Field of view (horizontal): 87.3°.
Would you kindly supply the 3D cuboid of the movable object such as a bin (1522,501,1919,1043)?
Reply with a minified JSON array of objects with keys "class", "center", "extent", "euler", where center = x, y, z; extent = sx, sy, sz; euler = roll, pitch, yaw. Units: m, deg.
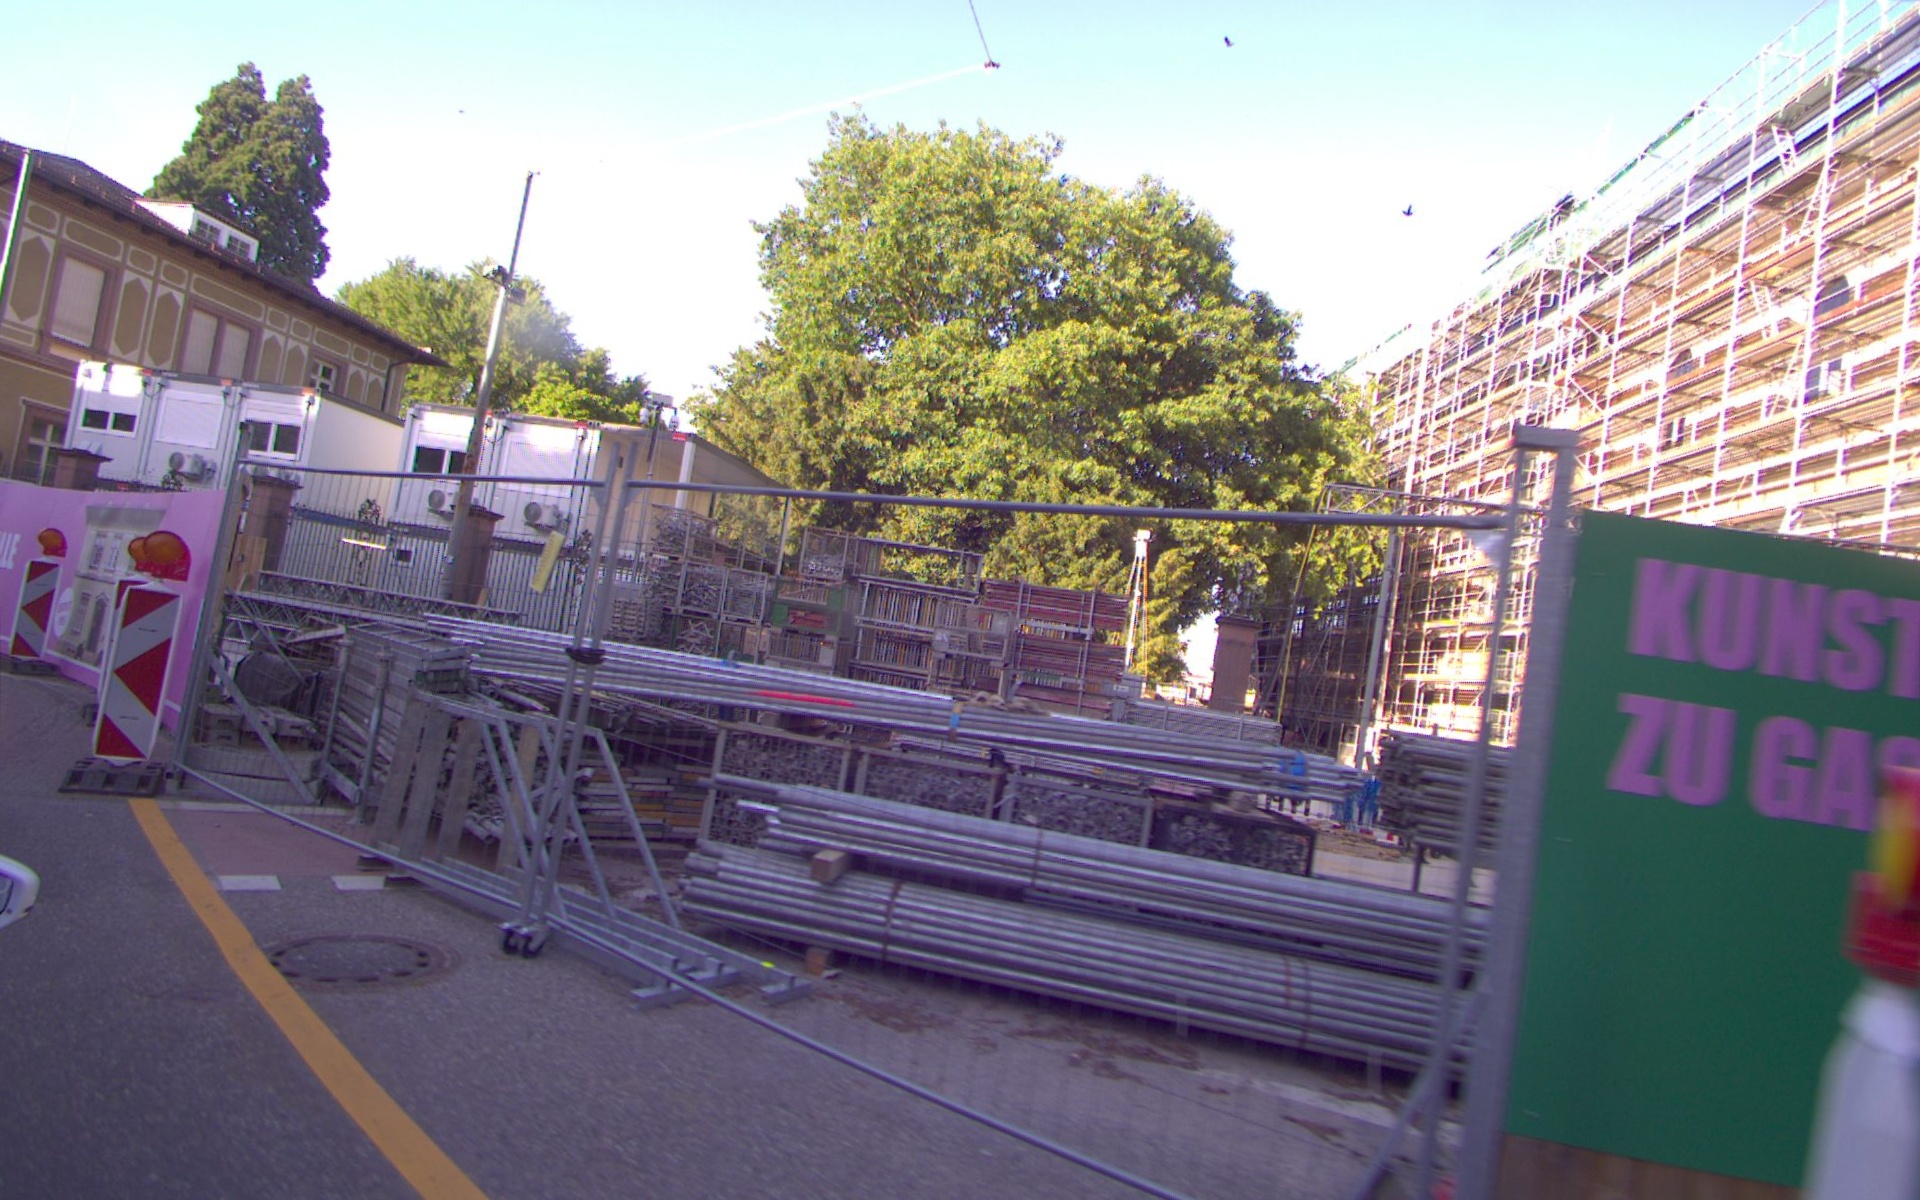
[{"class":"movable object such as a bin","center":[7.511,1.455,7.854],"extent":[4.302,3.335,3.179],"euler":[8,-3,11]}]
